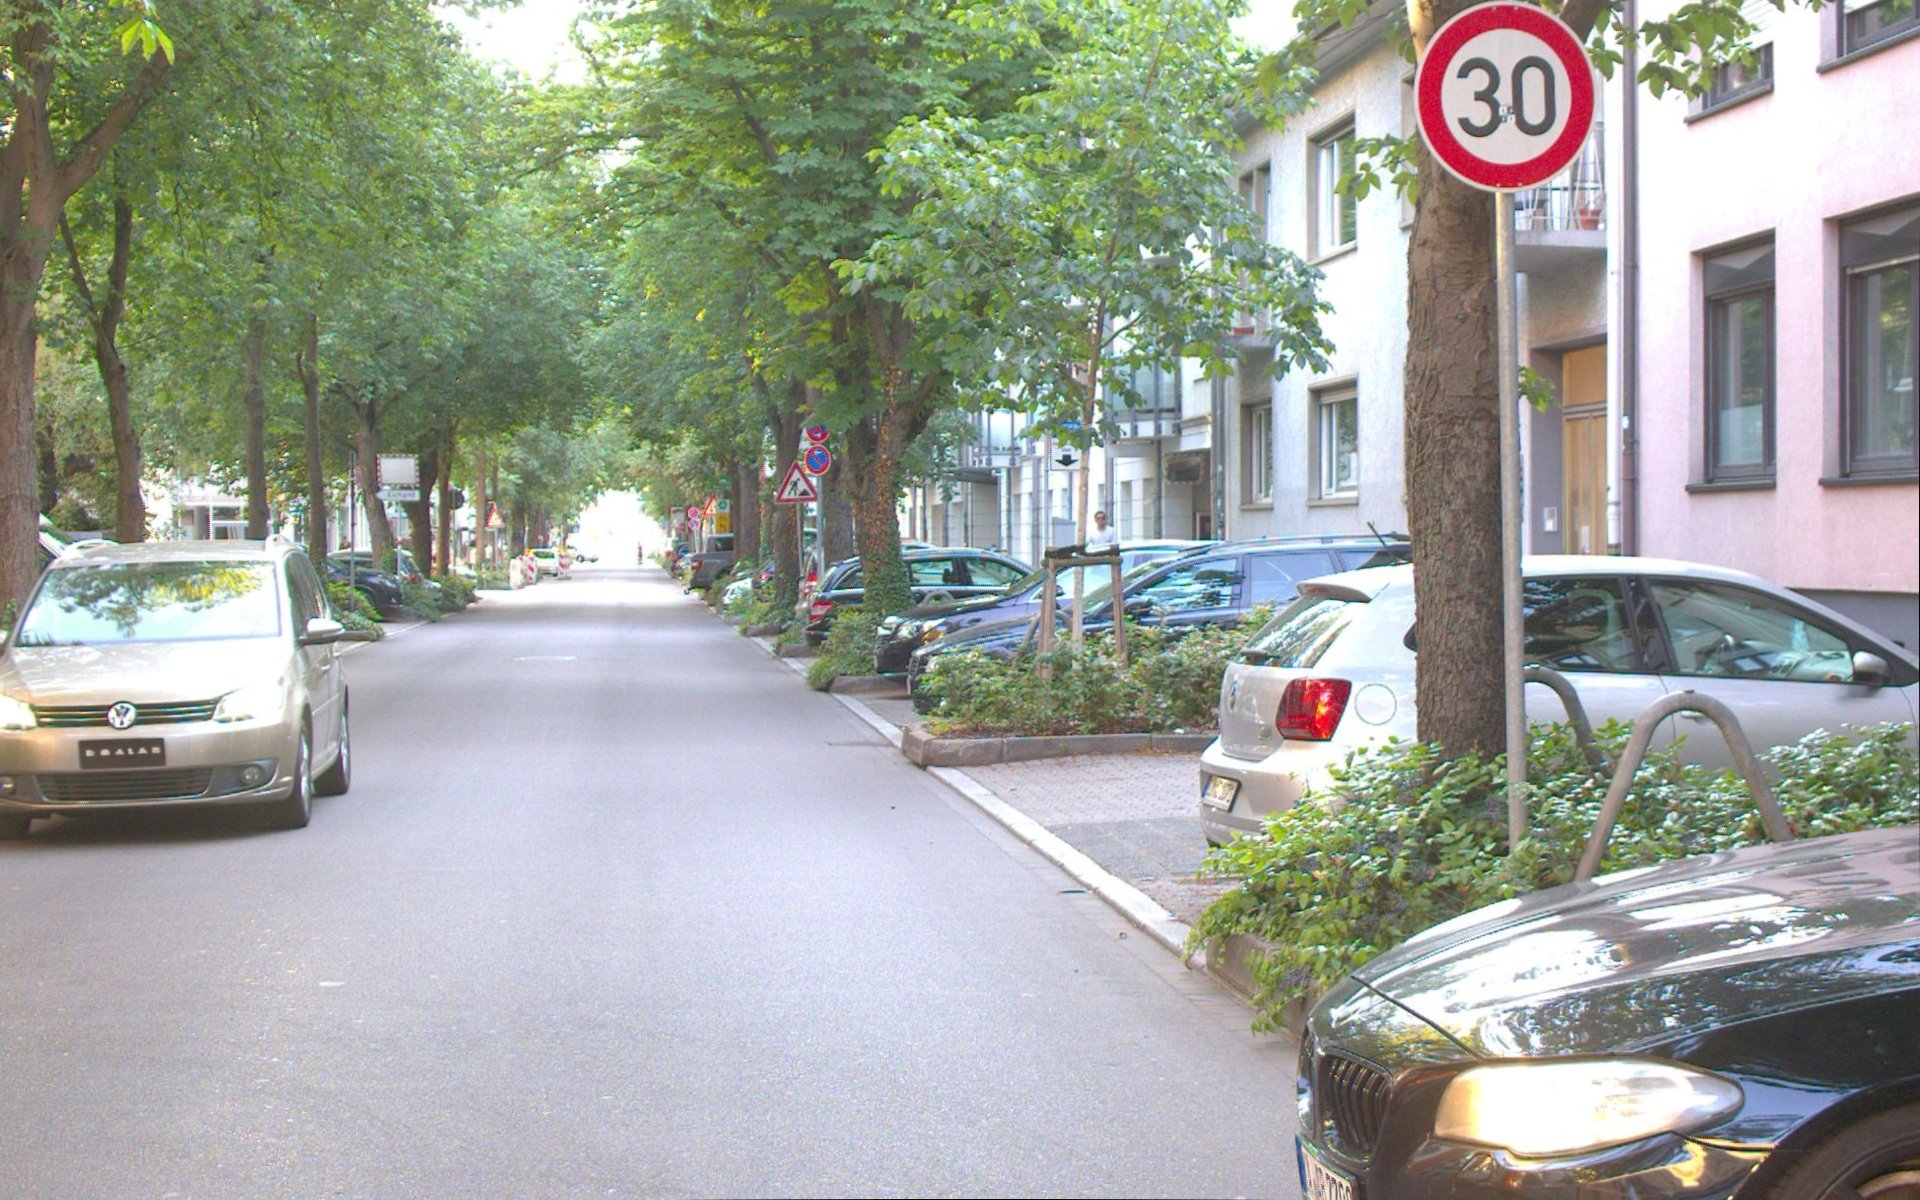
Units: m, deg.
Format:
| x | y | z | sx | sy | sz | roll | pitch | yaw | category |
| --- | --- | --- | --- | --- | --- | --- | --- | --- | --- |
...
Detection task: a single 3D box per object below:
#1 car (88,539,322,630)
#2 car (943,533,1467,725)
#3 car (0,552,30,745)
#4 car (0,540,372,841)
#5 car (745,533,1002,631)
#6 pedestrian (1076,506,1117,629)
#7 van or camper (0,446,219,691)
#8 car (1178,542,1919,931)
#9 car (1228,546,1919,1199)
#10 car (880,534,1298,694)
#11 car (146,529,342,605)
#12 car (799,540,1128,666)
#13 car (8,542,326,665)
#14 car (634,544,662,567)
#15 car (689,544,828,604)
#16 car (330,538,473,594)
| x | y | z | sx | sy | sz | roll | pitch | yaw | category |
| --- | --- | --- | --- | --- | --- | --- | --- | --- | --- |
| -13.834 | -0.297 | 63.164 | 3.967 | 1.614 | 1.785 | 0 | 1 | -4 | car |
| 1.940 | 0.209 | 27.922 | 3.967 | 1.471 | 1.785 | -1 | 1 | -7 | car |
| -9.580 | 0.395 | 27.280 | 3.967 | 1.512 | 1.785 | 0 | 1 | -4 | car |
| -4.515 | 0.433 | 20.009 | 1.779 | 1.557 | 4.169 | 0 | 1 | -5 | car |
| -1.410 | -0.303 | 55.169 | 3.967 | 1.522 | 1.785 | -1 | 1 | -6 | car |
| 2.233 | -0.535 | 56.342 | 0.589 | 2.007 | 0.669 | 0 | 1 | -4 | pedestrian |
| -10.175 | -0.329 | 35.602 | 4.663 | 2.470 | 2.000 | 0 | 1 | -5 | van or camper |
| 2.990 | 0.507 | 14.300 | 3.908 | 1.471 | 1.665 | -1 | 1 | -7 | car |
| 2.982 | 0.637 | 6.209 | 4.744 | 1.475 | 1.800 | 0 | 1 | -5 | car |
| 1.248 | 0.116 | 34.423 | 3.967 | 1.522 | 1.785 | 0 | 1 | -6 | car |
| -15.552 | -0.731 | 74.804 | 3.967 | 1.614 | 1.785 | 0 | 1 | -4 | car |
| 0.013 | 0.014 | 43.267 | 3.967 | 1.522 | 1.785 | 0 | 1 | -6 | car |
| -10.702 | 0.029 | 46.616 | 3.967 | 1.614 | 1.785 | 0 | 1 | -4 | car |
| -20.984 | -2.997 | 230.993 | 1.822 | 1.525 | 4.001 | 1 | 1 | -5 | car |
| -5.831 | -0.757 | 99.242 | 3.967 | 1.678 | 1.785 | 0 | 1 | -4 | car |
| -16.327 | -1.002 | 100.674 | 3.967 | 1.614 | 1.785 | 0 | 1 | -4 | car |
